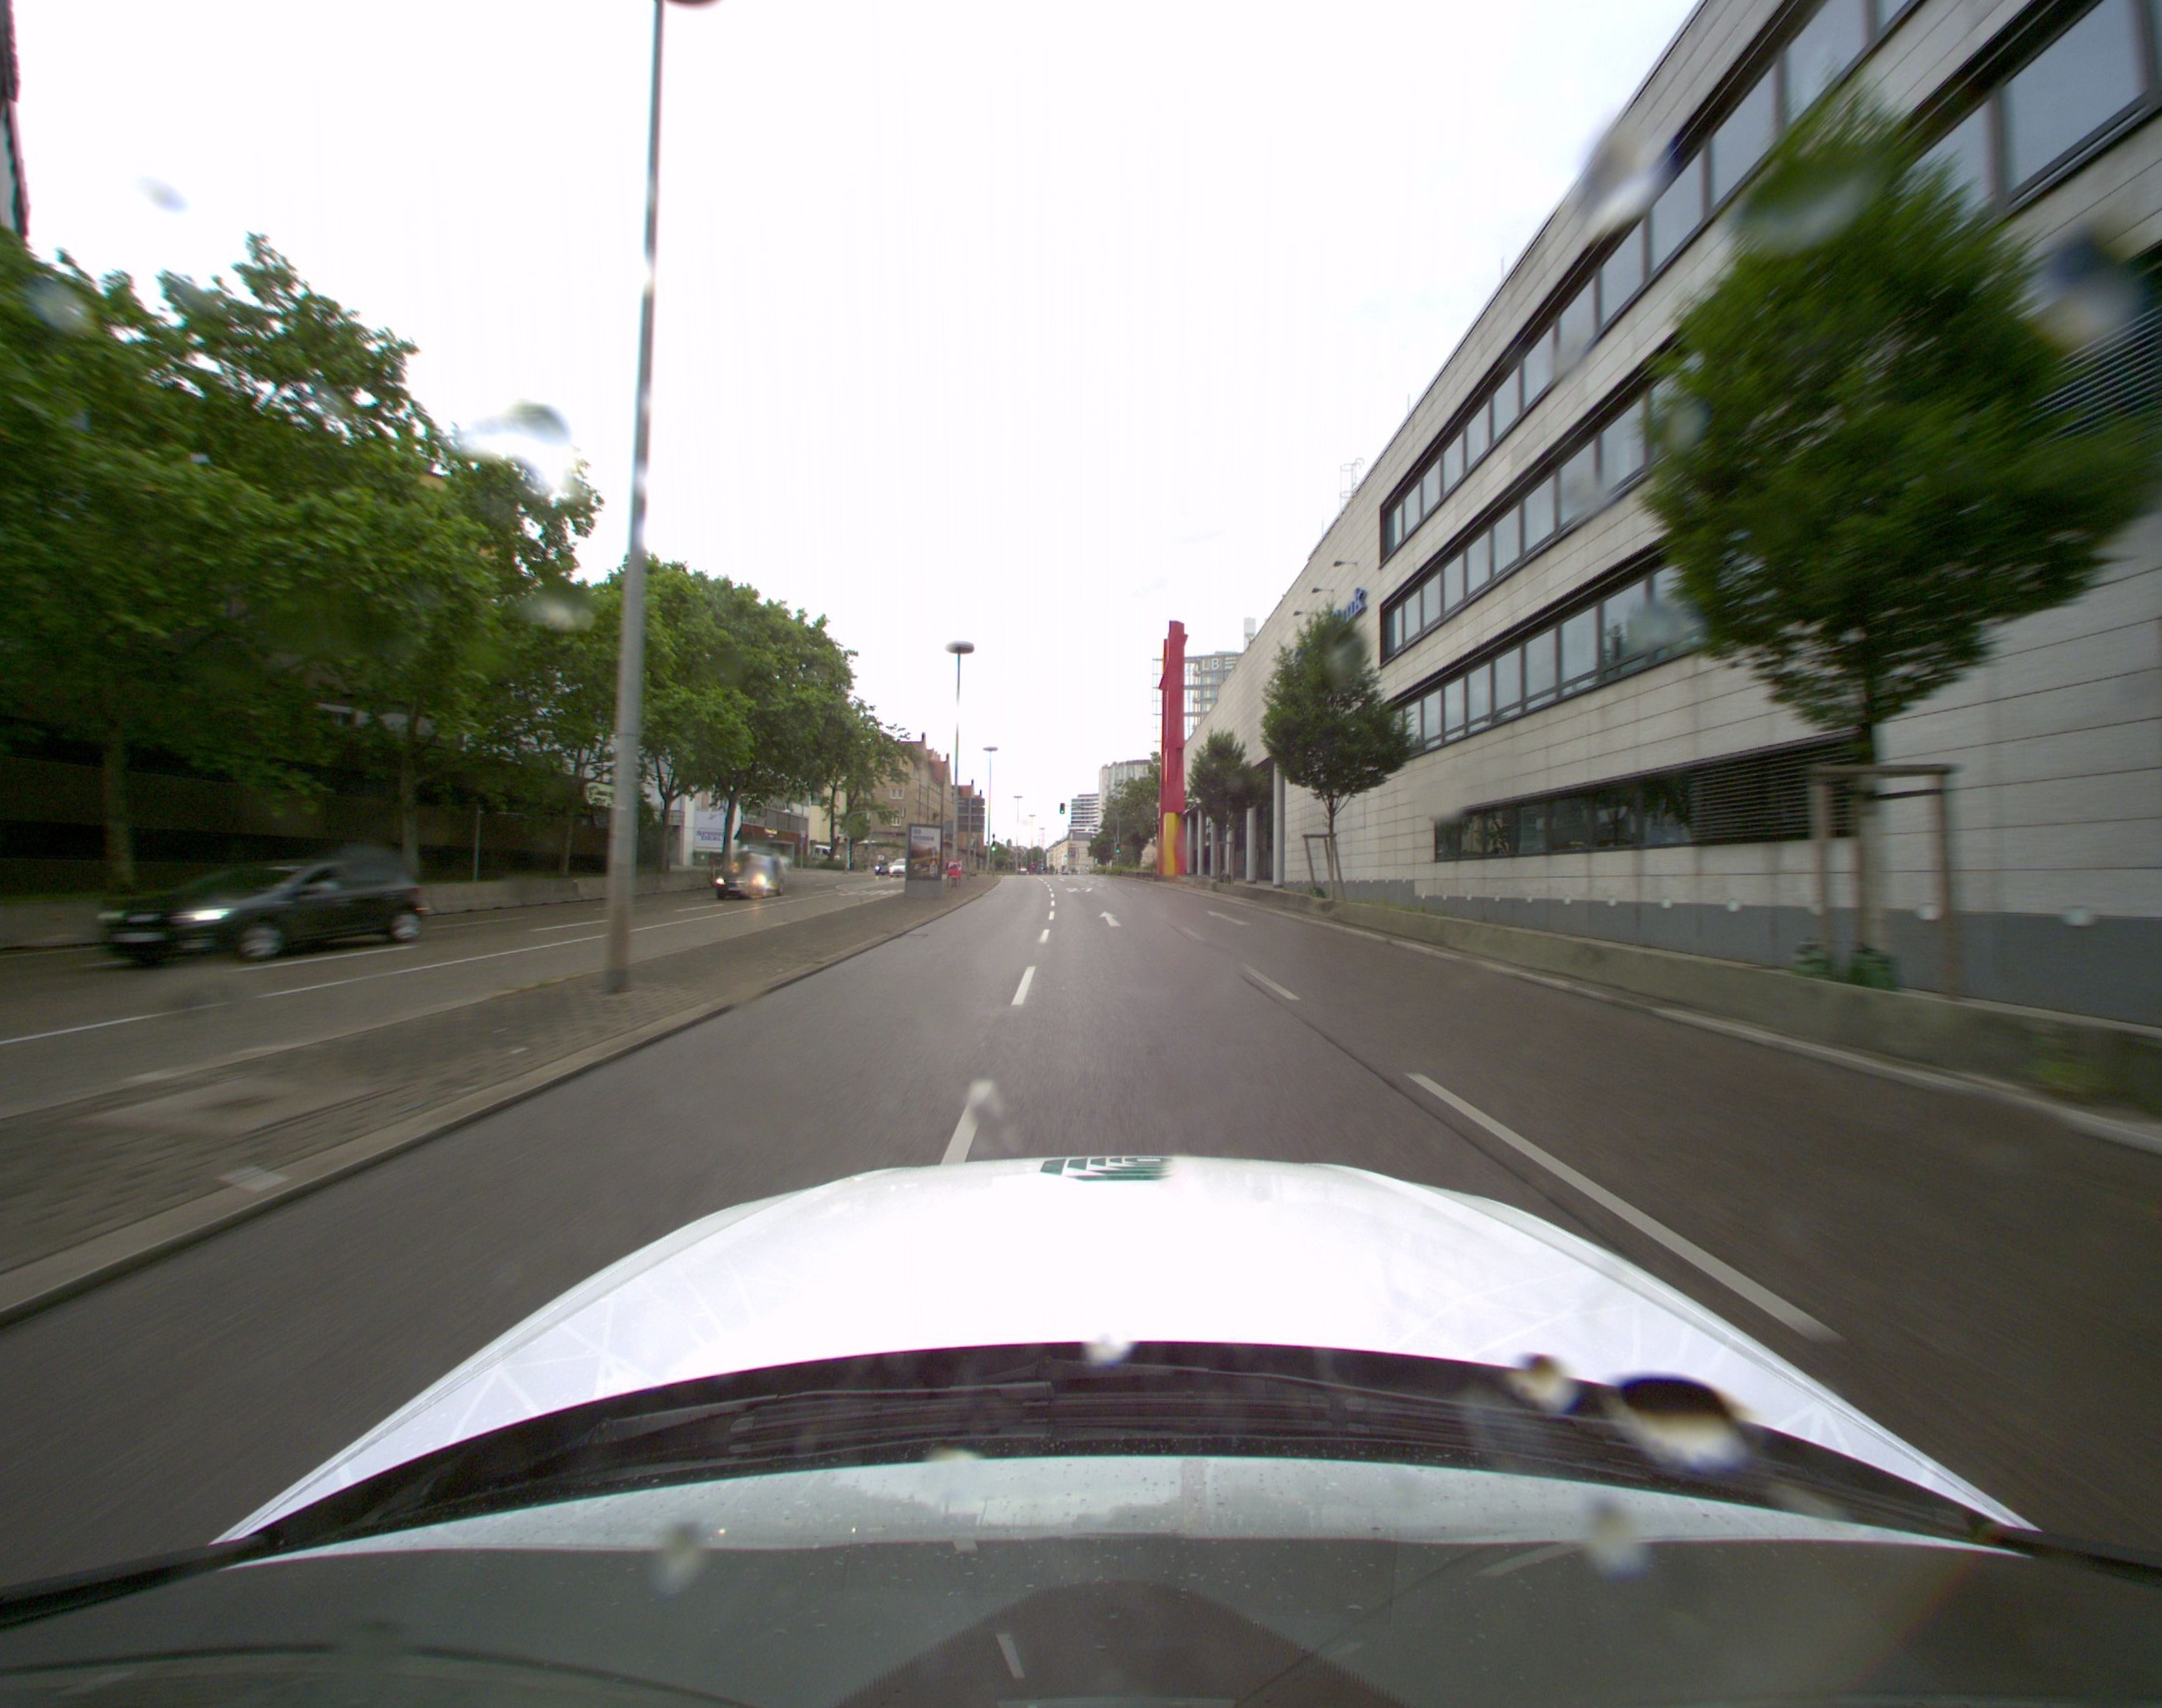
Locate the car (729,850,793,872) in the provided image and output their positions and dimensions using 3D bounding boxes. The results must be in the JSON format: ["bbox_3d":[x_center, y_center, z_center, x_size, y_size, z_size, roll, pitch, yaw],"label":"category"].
[{"bbox_3d":[-28.482,0.635,72.640,1.974,1.654,4.873,1,-3,38],"label":"car"}]

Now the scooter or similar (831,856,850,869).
[{"bbox_3d":[-25.856,0.892,87.566,1.760,1.247,0.367,5,-3,-30],"label":"scooter or similar"}]

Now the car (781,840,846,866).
[{"bbox_3d":[-32.826,-0.121,99.951,6.880,2.275,2.514,7,2,0],"label":"car"}]

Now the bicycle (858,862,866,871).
[{"bbox_3d":[-24.820,1.435,92.287,0.455,0.991,1.758,1,-1,0],"label":"bicycle"}]

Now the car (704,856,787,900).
[{"bbox_3d":[-12.699,0.846,31.075,1.933,1.500,4.161,-1,1,-8],"label":"car"}]

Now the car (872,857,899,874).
[{"bbox_3d":[-18.306,1.029,76.343,1.750,1.519,4.165,0,0,-4],"label":"car"}]

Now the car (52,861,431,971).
[{"bbox_3d":[-12.985,0.854,13.061,1.929,1.436,4.072,0,0,-3],"label":"car"}]
